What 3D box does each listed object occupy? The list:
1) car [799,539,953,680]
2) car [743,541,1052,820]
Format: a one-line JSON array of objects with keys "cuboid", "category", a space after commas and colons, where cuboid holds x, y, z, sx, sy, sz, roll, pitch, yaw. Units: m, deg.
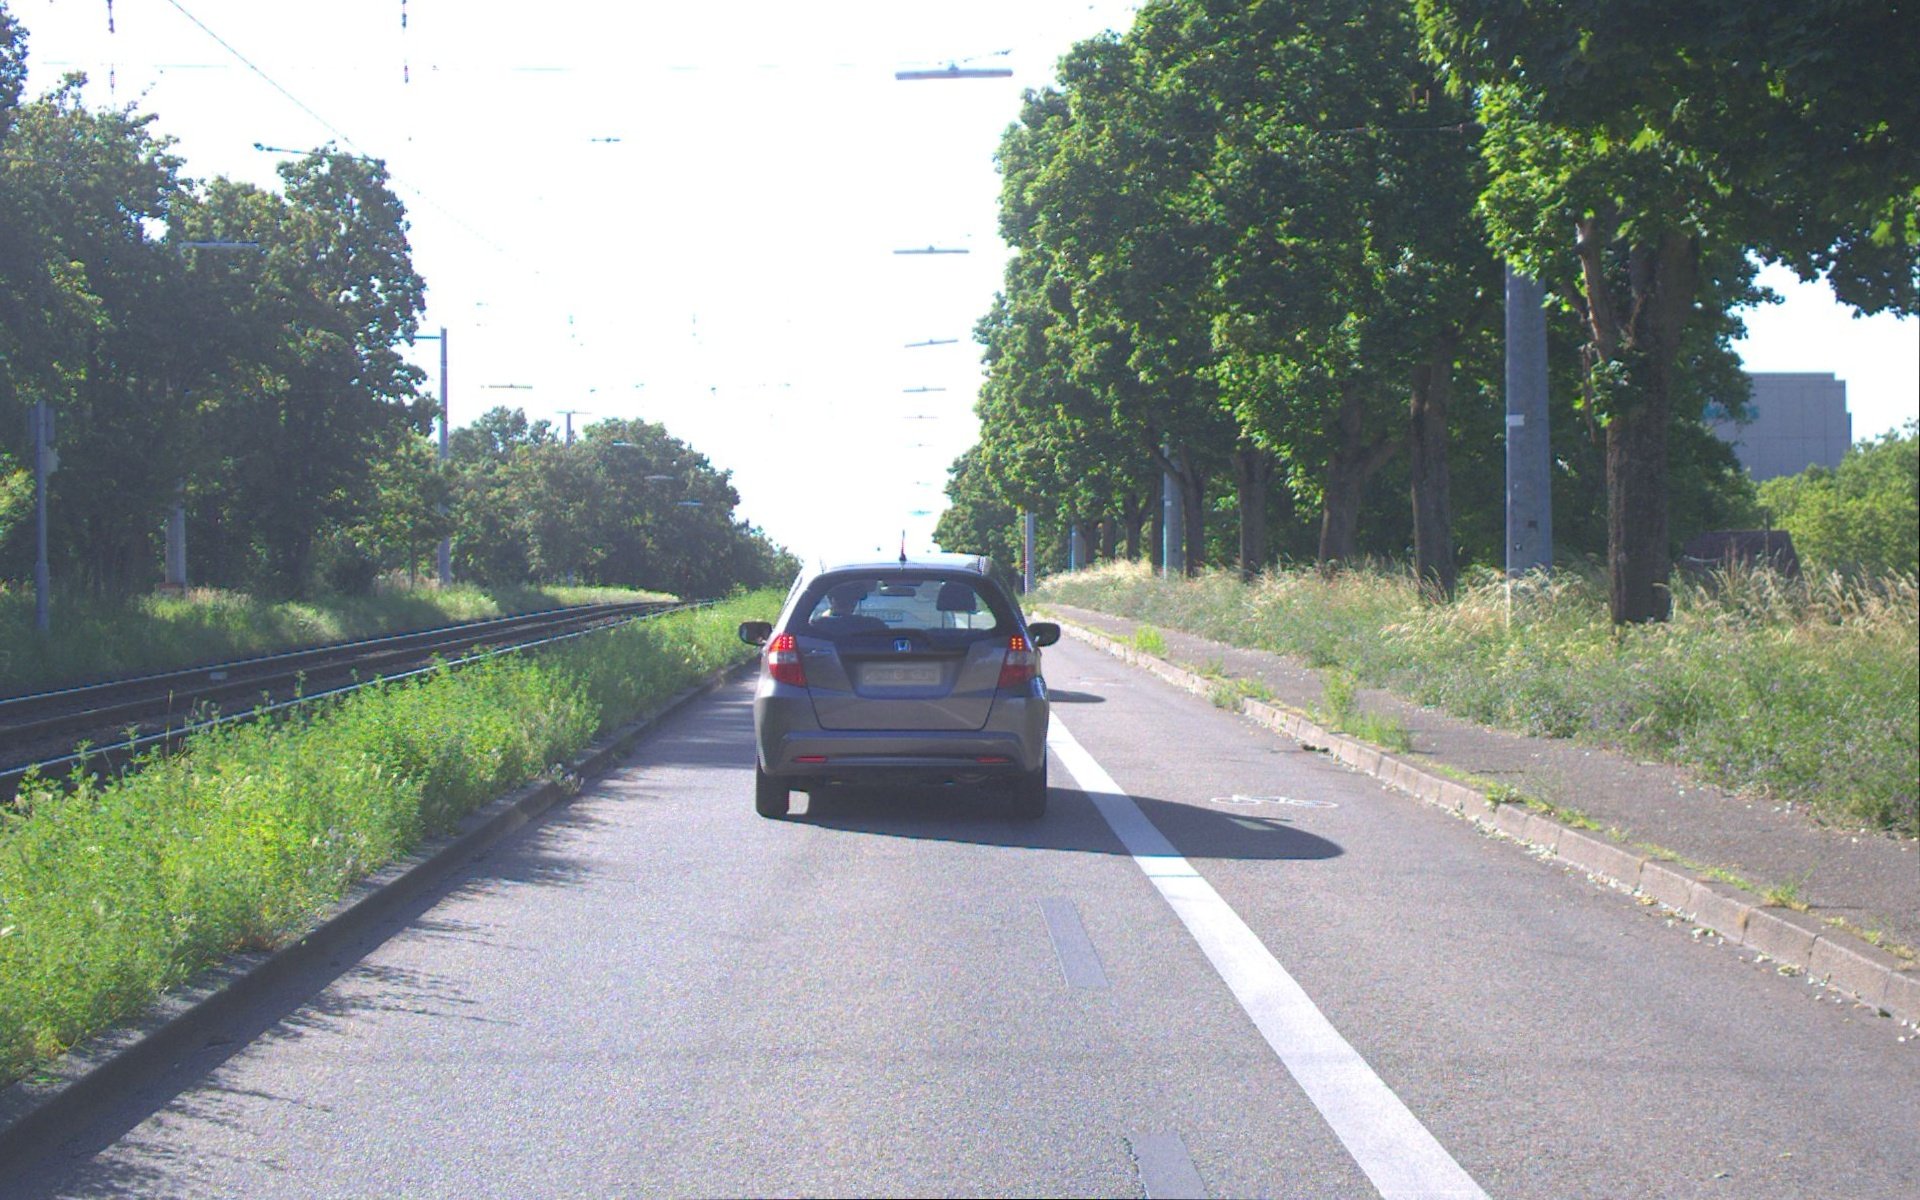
[{"cuboid": [-0.920, 0.081, 39.428, 1.654, 1.502, 3.811, 1, 1, 0], "category": "car"}, {"cuboid": [-0.350, 0.423, 20.810, 1.670, 1.502, 3.811, 1, 1, 0], "category": "car"}]
